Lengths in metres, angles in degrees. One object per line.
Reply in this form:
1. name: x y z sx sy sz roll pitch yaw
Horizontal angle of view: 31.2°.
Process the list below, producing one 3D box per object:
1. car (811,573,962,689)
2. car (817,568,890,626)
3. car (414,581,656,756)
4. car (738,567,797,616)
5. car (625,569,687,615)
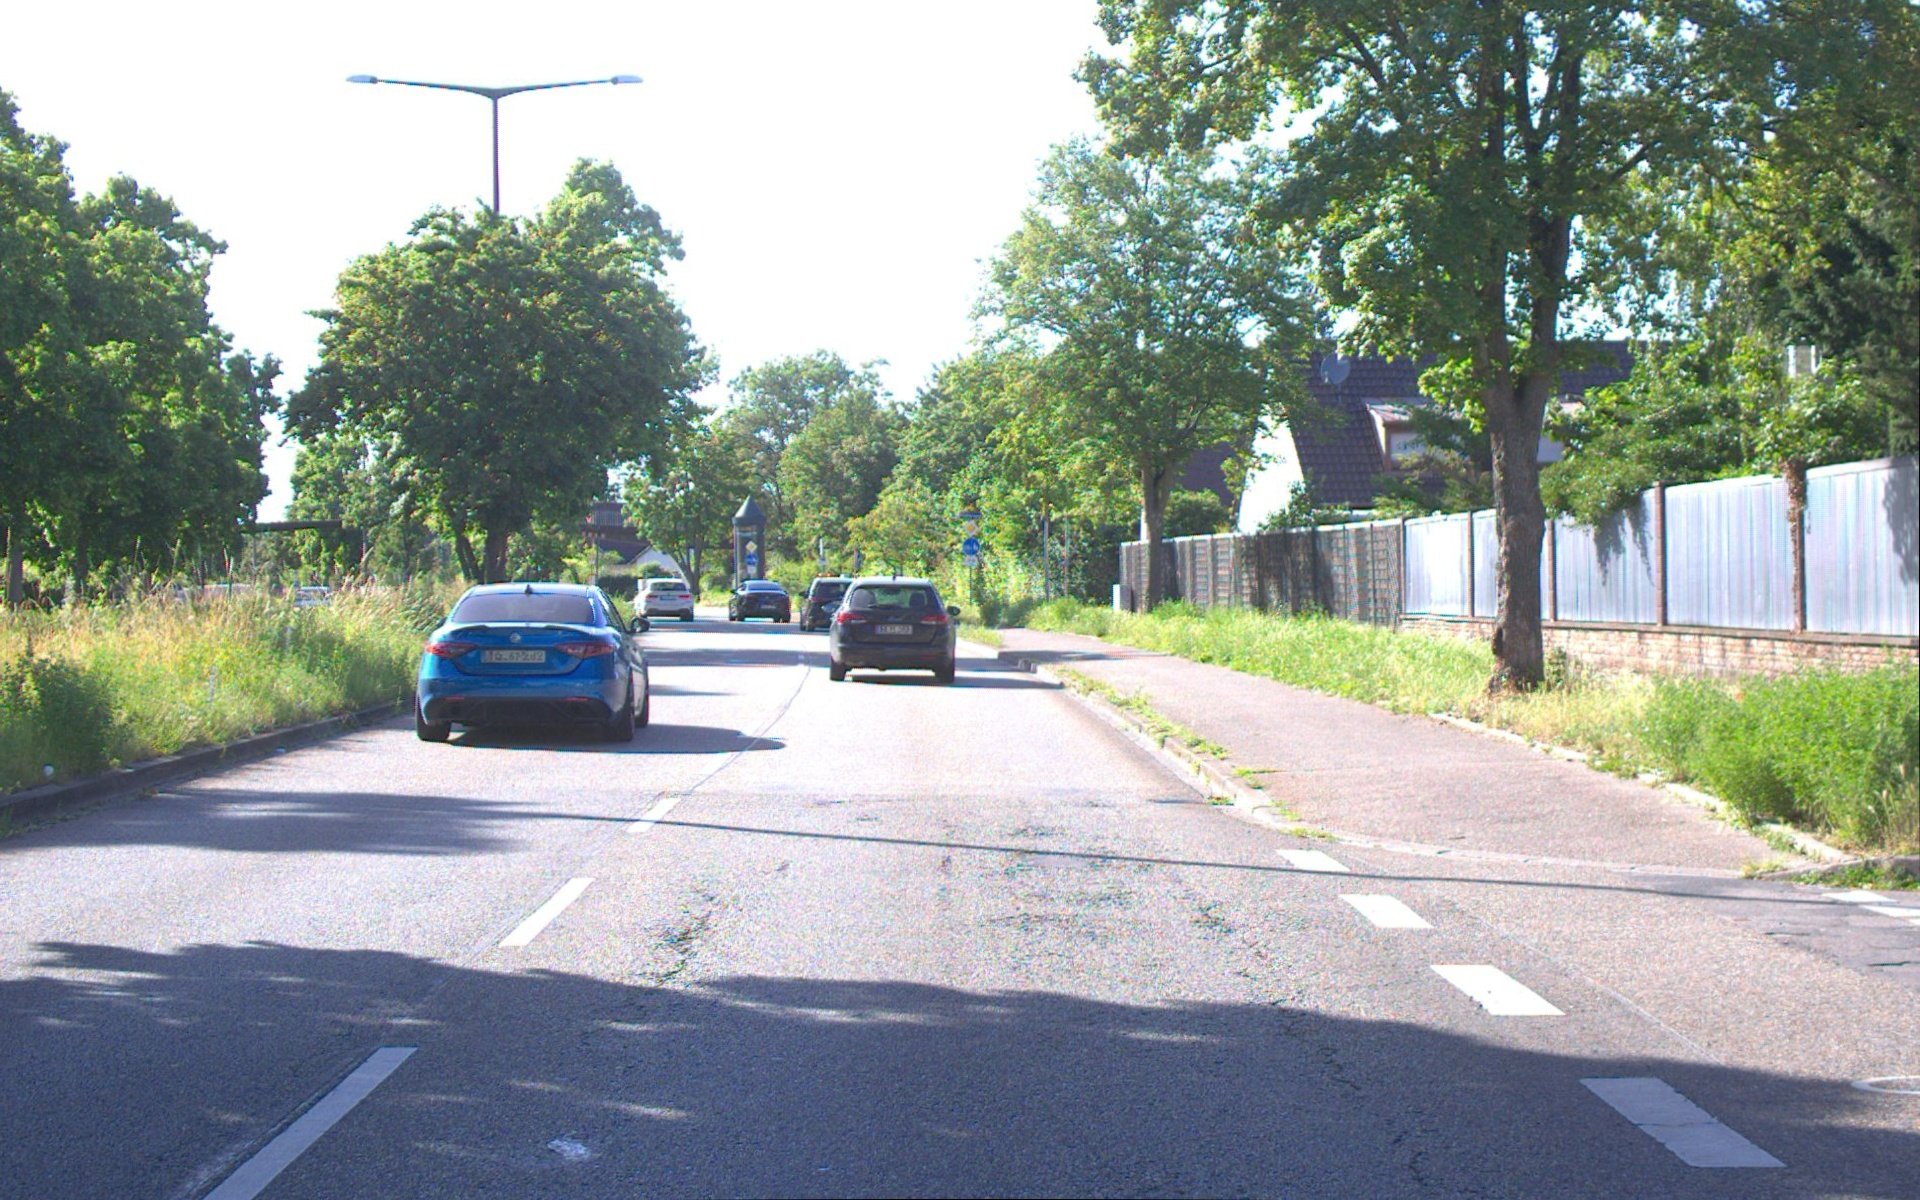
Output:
1. car: -1.103 0.430 49.394 1.915 1.574 4.183 1 0 -4
2. car: -2.998 -0.087 95.993 1.915 1.574 4.182 1 0 -3
3. car: -3.835 0.579 31.606 1.838 1.469 4.185 -1 0 -2
4. car: -6.767 -0.303 120.607 1.915 1.672 4.013 1 0 -5
5. car: -10.305 -0.288 116.800 1.915 1.507 4.068 0 1 -3
